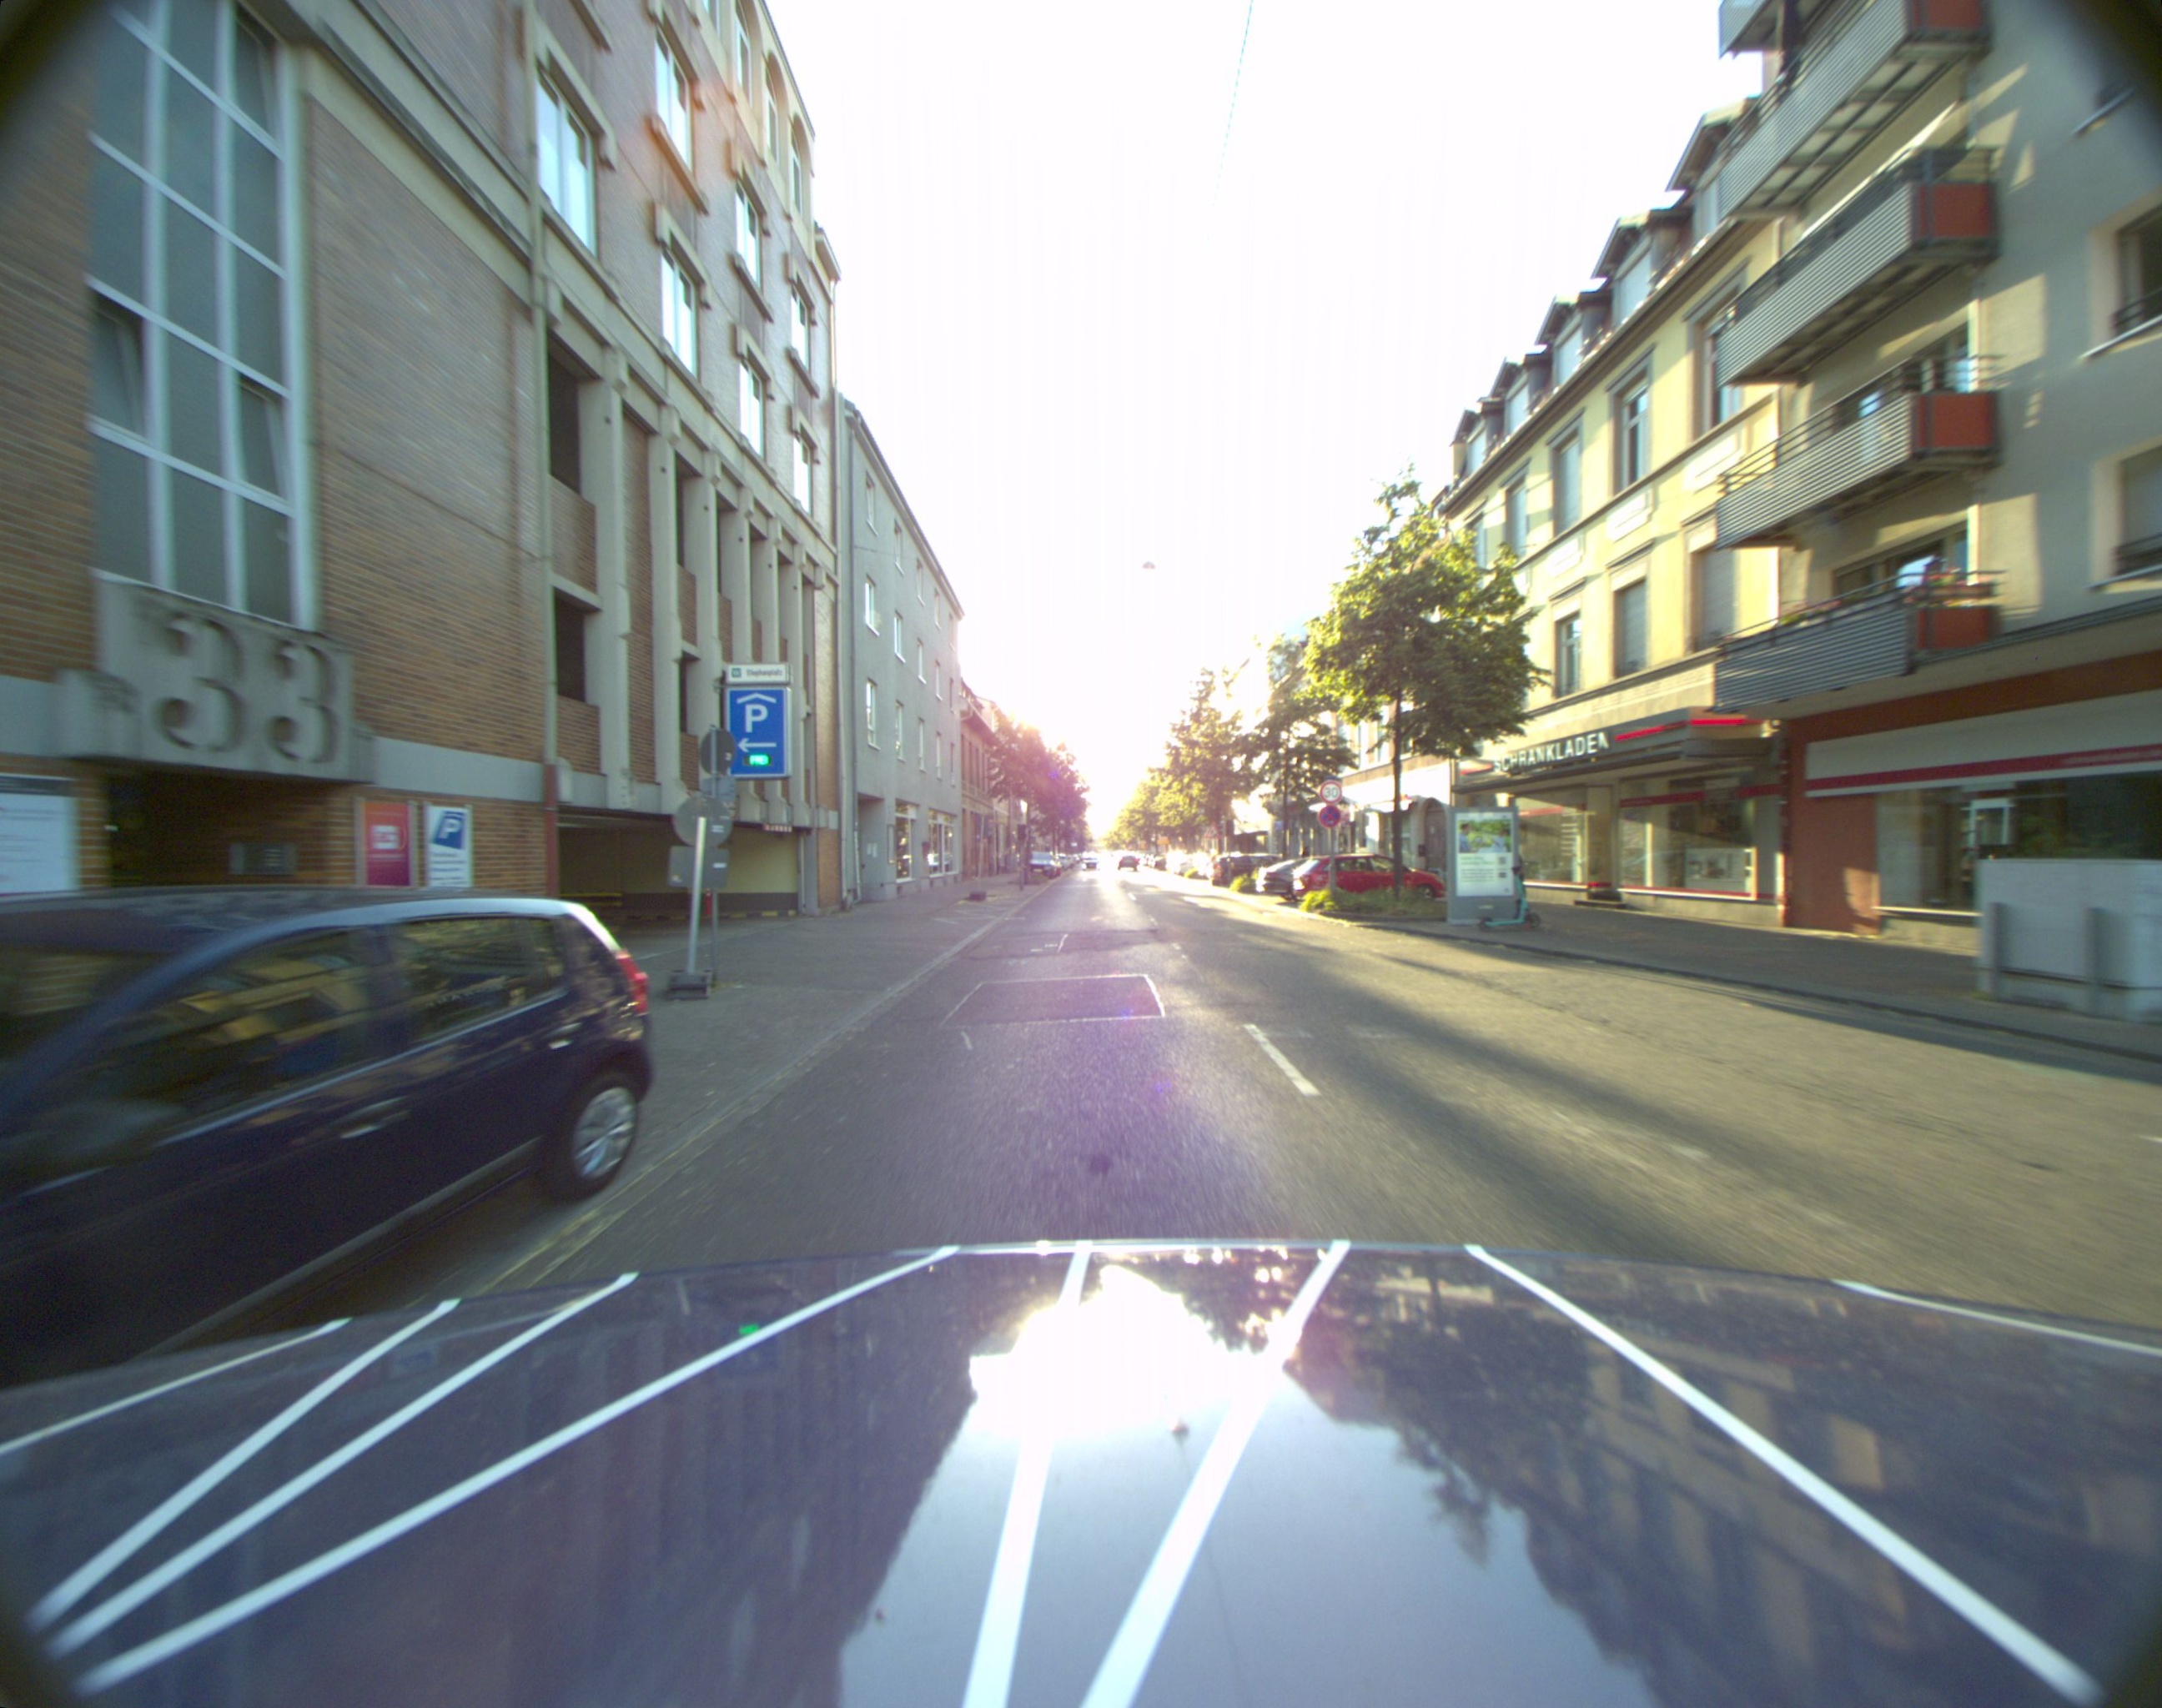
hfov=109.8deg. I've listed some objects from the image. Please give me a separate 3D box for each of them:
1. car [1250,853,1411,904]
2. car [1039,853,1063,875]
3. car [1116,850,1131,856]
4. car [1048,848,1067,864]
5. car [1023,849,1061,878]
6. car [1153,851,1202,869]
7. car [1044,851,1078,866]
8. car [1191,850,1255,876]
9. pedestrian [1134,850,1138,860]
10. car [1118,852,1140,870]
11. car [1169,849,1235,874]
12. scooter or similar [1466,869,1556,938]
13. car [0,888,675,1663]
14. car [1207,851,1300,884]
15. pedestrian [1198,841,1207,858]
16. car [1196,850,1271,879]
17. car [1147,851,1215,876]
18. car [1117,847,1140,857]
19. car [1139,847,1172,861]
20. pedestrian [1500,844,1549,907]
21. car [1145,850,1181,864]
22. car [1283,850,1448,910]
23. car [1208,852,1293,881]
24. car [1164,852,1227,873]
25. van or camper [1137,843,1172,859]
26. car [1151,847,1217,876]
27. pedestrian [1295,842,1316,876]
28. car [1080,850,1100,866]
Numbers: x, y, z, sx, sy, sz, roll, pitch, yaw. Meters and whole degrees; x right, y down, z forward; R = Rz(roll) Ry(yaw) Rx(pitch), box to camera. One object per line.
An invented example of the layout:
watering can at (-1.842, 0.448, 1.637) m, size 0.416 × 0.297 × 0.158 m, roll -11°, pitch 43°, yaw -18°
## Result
car at (8.012, 0.763, 24.682) m, size 4.582 × 1.399 × 1.821 m, roll -2°, pitch 1°, yaw 0°
car at (-2.217, 0.723, 56.662) m, size 1.734 × 1.479 × 3.899 m, roll 1°, pitch 0°, yaw -2°
car at (11.849, -0.280, 210.986) m, size 4.151 × 1.469 × 1.827 m, roll -1°, pitch 1°, yaw 1°
car at (-2.226, 0.194, 73.904) m, size 1.695 × 1.534 × 3.553 m, roll 1°, pitch 0°, yaw 1°
car at (-2.502, 0.580, 49.706) m, size 2.043 × 1.727 × 4.711 m, roll 1°, pitch 0°, yaw 2°
car at (8.812, 0.530, 69.651) m, size 4.285 × 1.475 × 1.744 m, roll -2°, pitch 0°, yaw 1°
car at (-2.153, 0.461, 82.301) m, size 1.661 × 1.574 × 3.632 m, roll 0°, pitch -1°, yaw 42°
car at (8.745, 0.540, 46.905) m, size 3.565 × 1.493 × 1.715 m, roll -2°, pitch 1°, yaw 0°
pedestrian at (8.534, 0.140, 118.003) m, size 0.550 × 1.638 × 0.721 m, roll -1°, pitch 1°, yaw 4°
car at (4.486, 0.672, 71.504) m, size 1.866 × 1.682 × 4.461 m, roll -1°, pitch -1°, yaw 1°
car at (8.648, 0.507, 54.453) m, size 4.417 × 1.586 × 1.890 m, roll -2°, pitch 0°, yaw 0°
scooter or similar at (8.133, 0.920, 14.403) m, size 1.402 × 1.219 × 0.525 m, roll -2°, pitch 1°, yaw -2°
car at (-3.234, 0.999, 2.266) m, size 1.763 × 1.527 × 4.000 m, roll 2°, pitch 1°, yaw 2°
car at (8.413, 0.630, 37.281) m, size 4.117 × 1.395 × 1.884 m, roll -2°, pitch 1°, yaw -1°
pedestrian at (12.902, -0.490, 80.462) m, size 0.721 × 1.739 × 0.934 m, roll -4°, pitch 1°, yaw 1°
car at (8.540, 0.573, 42.742) m, size 3.748 × 1.435 × 1.805 m, roll -2°, pitch 1°, yaw -2°
car at (6.455, 0.593, 49.296) m, size 4.160 × 1.413 × 1.766 m, roll -2°, pitch 1°, yaw -1°
car at (9.499, -0.444, 151.771) m, size 4.439 × 1.832 × 1.814 m, roll -2°, pitch 1°, yaw 0°
car at (9.539, 0.020, 97.771) m, size 4.193 × 1.659 × 1.732 m, roll -1°, pitch 1°, yaw 3°
pedestrian at (11.705, 0.555, 20.069) m, size 0.774 × 1.599 × 0.875 m, roll -2°, pitch 2°, yaw 1°
car at (9.231, 0.322, 85.942) m, size 3.876 × 1.448 × 1.744 m, roll -2°, pitch 0°, yaw -1°
car at (8.169, 0.718, 22.089) m, size 4.082 × 1.527 × 1.884 m, roll -2°, pitch 1°, yaw 1°
car at (8.818, 0.631, 39.795) m, size 4.107 × 1.395 × 1.843 m, roll -1°, pitch 1°, yaw 3°
car at (8.838, 0.616, 58.819) m, size 4.559 × 1.475 × 1.744 m, roll -2°, pitch 0°, yaw 1°
van or camper at (9.675, -0.369, 100.472) m, size 4.469 × 1.945 × 1.789 m, roll -1°, pitch 1°, yaw 2°
car at (7.019, 0.496, 52.118) m, size 4.160 × 1.762 × 1.889 m, roll -2°, pitch 1°, yaw -1°
pedestrian at (11.769, 0.251, 39.829) m, size 0.774 × 1.712 × 0.875 m, roll -2°, pitch 2°, yaw 1°
car at (0.936, 0.379, 75.242) m, size 1.825 × 1.469 × 4.155 m, roll -1°, pitch 1°, yaw 2°
